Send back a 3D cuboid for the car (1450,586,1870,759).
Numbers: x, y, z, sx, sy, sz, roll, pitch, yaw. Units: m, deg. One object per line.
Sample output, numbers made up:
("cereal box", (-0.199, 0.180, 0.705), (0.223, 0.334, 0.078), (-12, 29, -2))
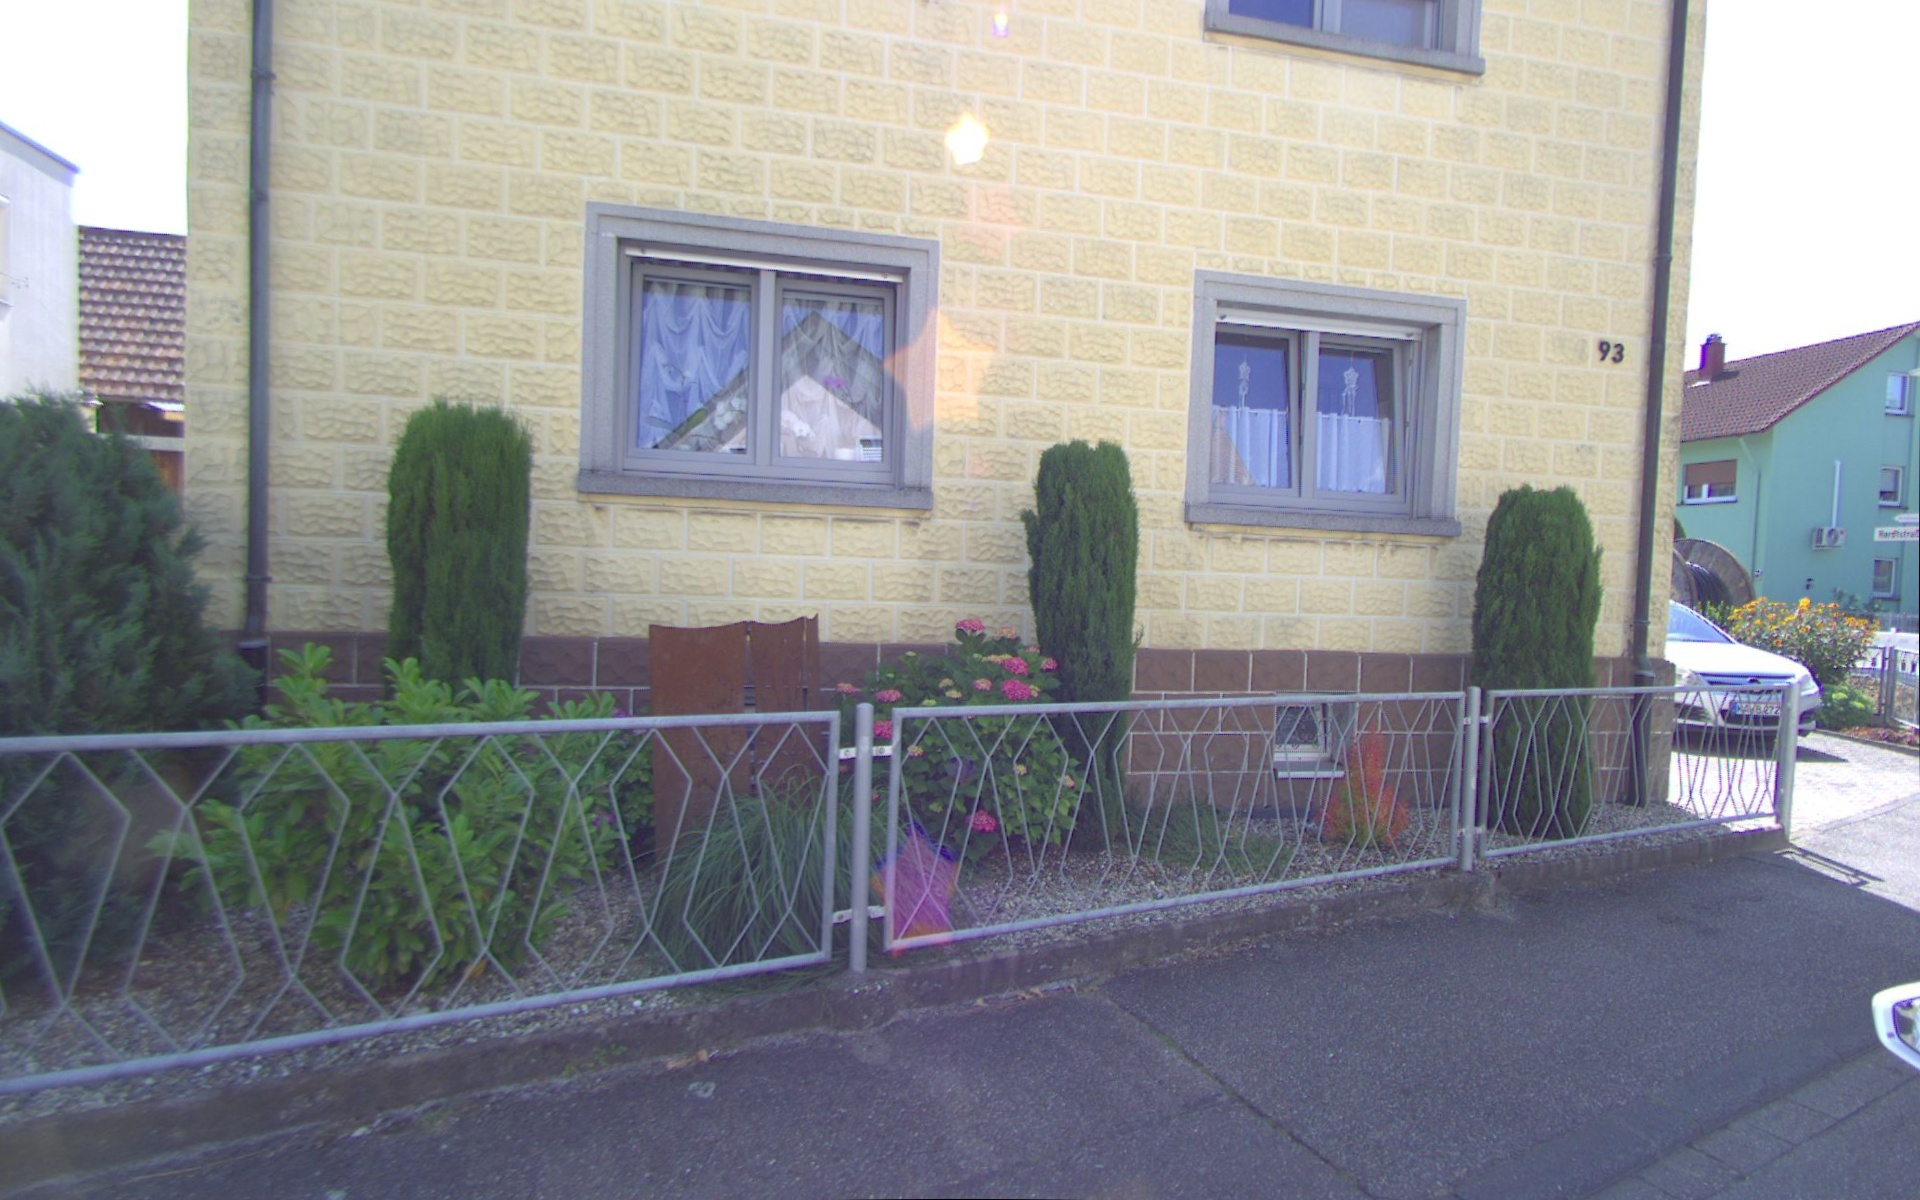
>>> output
("car", (7.583, 0.641, 11.562), (1.756, 1.505, 4.473), (2, 1, 2))
